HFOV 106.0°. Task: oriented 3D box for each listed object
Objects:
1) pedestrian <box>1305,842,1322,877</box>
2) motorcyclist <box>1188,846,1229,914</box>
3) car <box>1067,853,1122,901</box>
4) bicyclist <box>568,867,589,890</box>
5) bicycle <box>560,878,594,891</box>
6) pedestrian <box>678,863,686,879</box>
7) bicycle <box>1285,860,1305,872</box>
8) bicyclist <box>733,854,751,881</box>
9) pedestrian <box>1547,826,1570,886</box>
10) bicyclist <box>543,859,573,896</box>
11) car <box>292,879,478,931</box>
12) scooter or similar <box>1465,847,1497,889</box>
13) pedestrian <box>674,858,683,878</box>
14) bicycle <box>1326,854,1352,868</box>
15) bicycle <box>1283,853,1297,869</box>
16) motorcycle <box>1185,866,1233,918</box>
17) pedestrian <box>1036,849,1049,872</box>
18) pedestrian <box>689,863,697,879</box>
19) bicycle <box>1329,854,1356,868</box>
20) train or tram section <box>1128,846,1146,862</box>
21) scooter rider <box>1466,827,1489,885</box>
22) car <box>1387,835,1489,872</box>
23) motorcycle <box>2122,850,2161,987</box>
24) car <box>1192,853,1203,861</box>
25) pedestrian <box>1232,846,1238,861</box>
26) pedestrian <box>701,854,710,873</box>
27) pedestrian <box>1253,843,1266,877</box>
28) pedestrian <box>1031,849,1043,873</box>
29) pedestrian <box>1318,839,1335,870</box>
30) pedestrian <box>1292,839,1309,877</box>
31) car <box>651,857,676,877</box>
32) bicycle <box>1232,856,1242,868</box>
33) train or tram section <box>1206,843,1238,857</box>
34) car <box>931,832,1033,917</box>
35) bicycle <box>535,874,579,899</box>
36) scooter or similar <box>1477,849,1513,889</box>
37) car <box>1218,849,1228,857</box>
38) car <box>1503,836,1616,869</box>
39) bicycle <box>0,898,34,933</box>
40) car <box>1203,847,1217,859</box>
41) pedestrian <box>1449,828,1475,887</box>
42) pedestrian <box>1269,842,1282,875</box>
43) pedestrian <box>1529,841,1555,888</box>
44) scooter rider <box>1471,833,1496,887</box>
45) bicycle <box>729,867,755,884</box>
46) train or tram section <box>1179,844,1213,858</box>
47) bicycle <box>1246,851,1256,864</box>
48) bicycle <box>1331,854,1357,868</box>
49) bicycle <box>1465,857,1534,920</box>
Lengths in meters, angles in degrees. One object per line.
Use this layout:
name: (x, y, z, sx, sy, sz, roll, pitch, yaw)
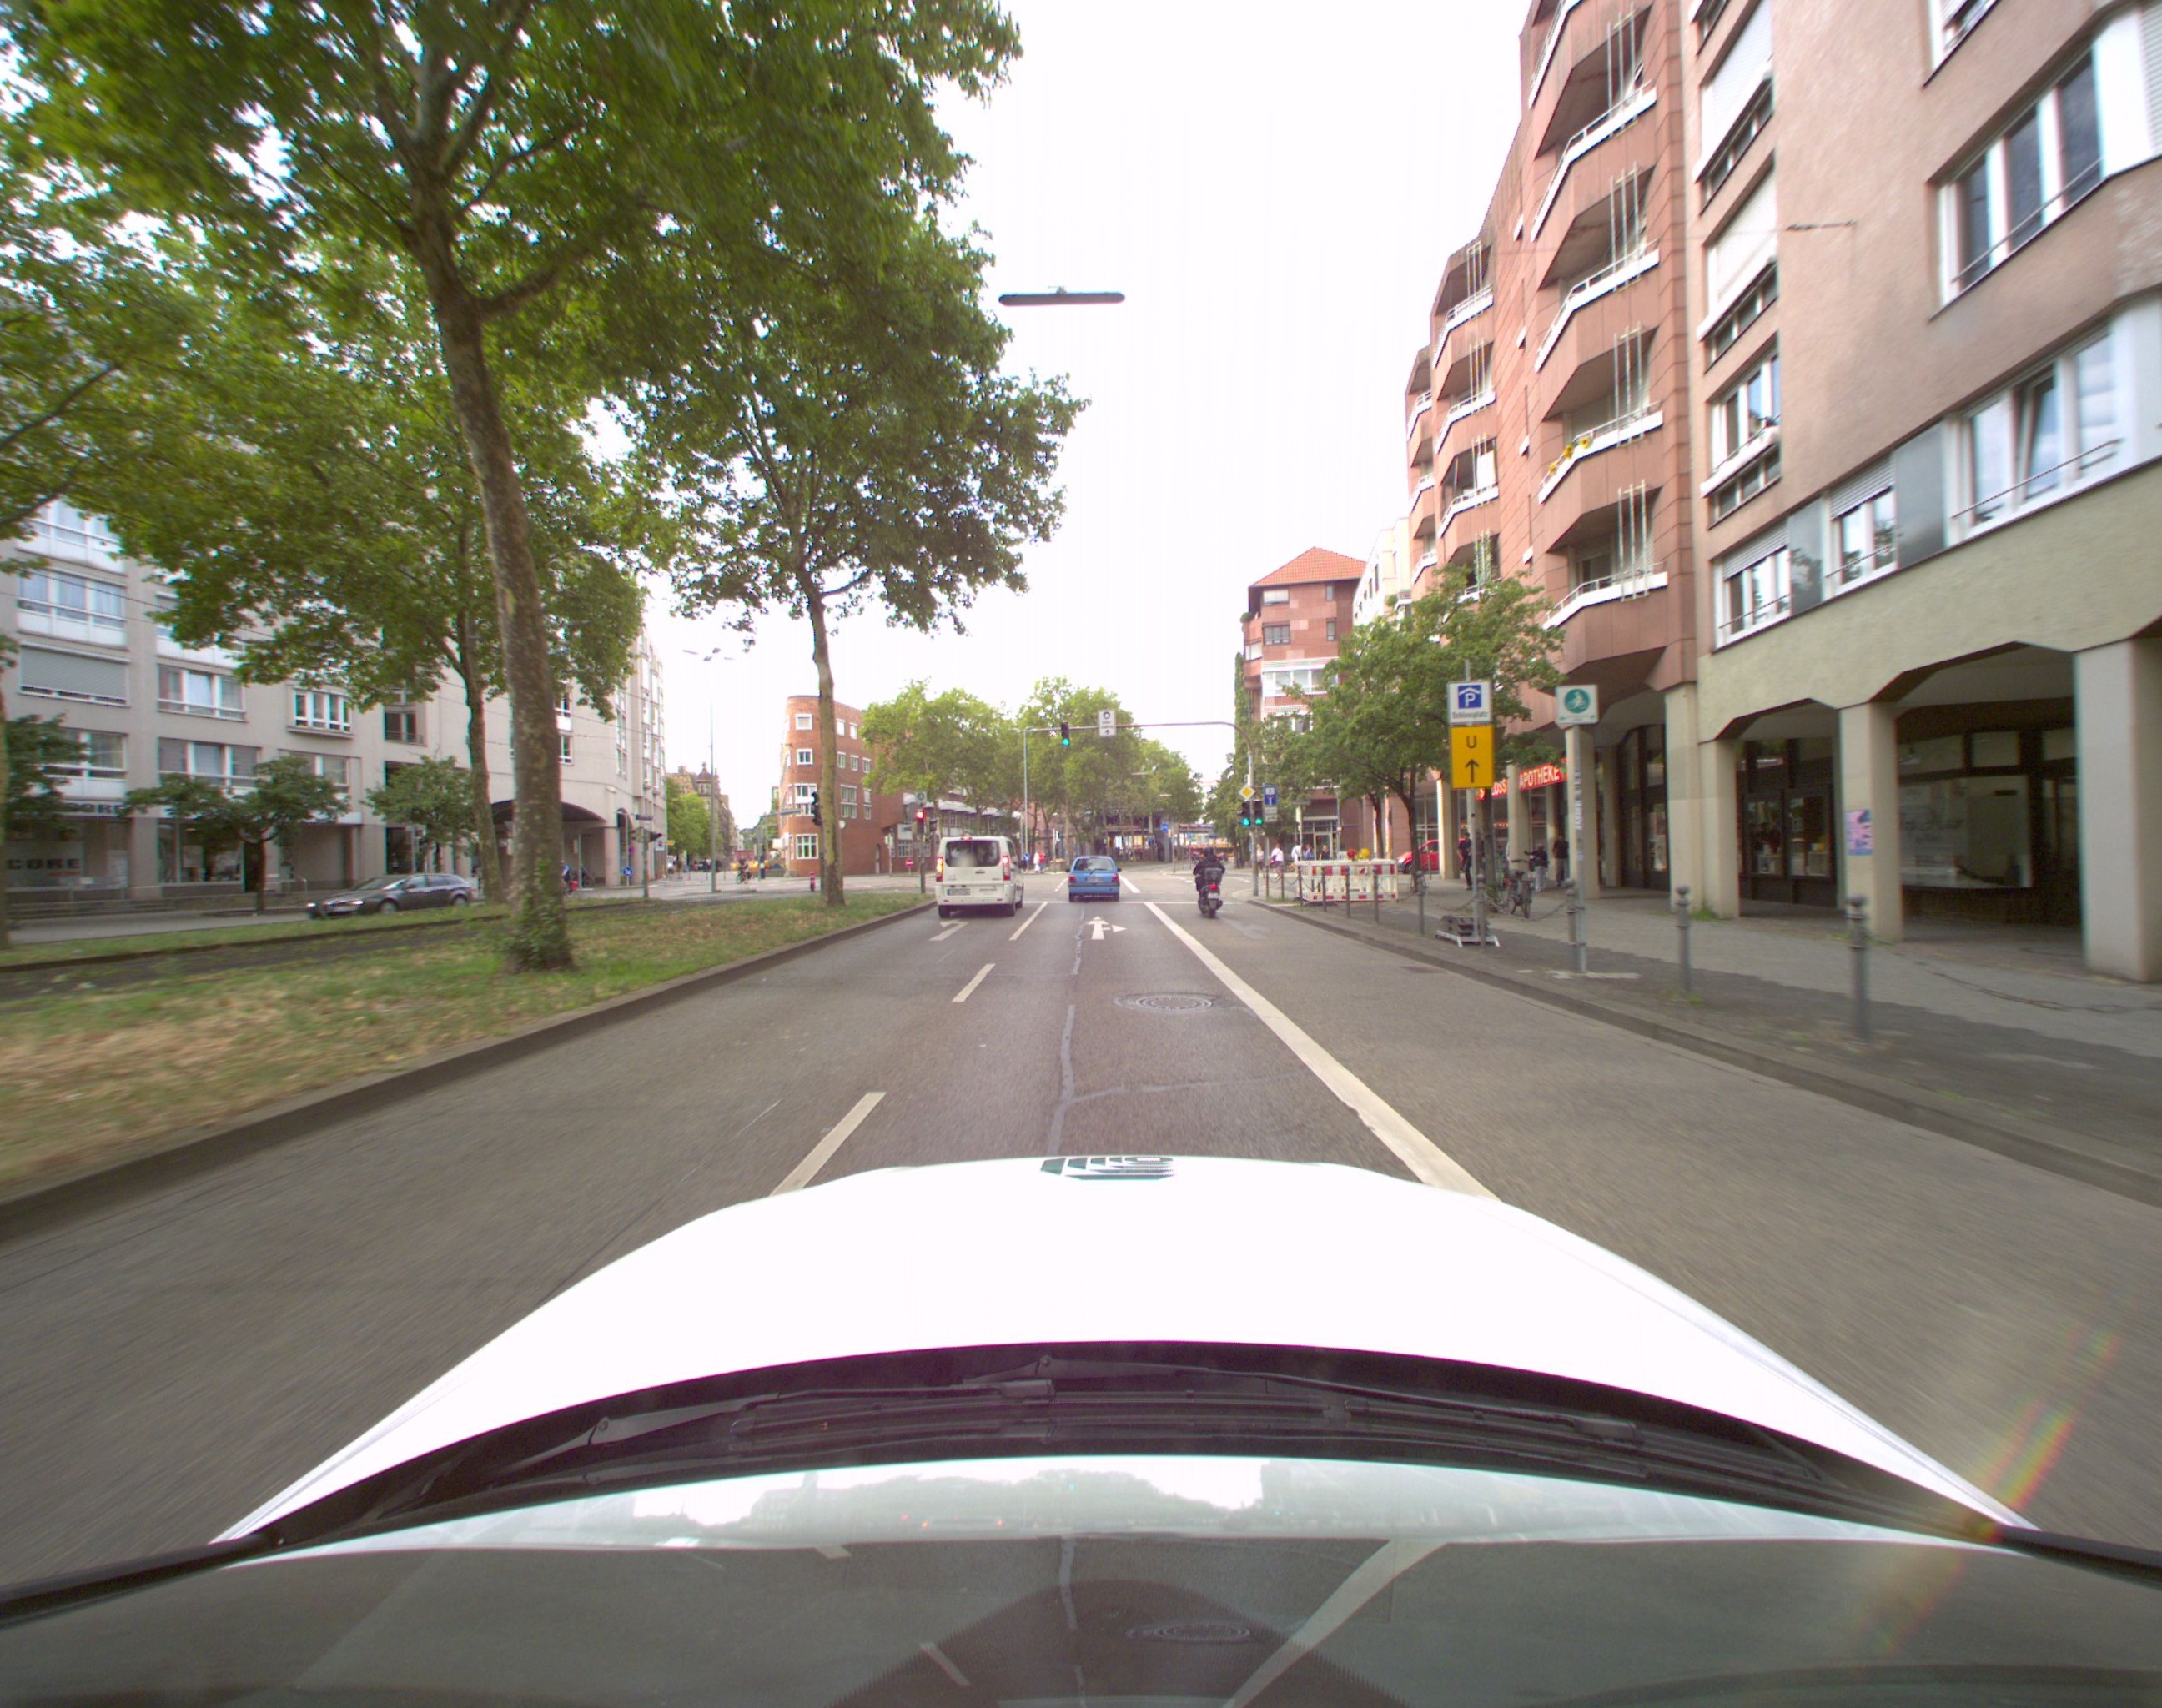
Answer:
pedestrian: (11.579, 0.255, 40.582, 0.648, 1.701, 1.024, -1, 0, 9)
motorcyclist: (2.971, 0.600, 19.067, 0.757, 1.519, 1.017, -2, 0, 0)
car: (0.450, 0.691, 26.245, 1.634, 1.386, 3.844, -1, 0, 1)
bicyclist: (-34.611, 1.690, 56.069, 1.026, 1.562, 0.583, -2, 0, 5)
bicycle: (-34.722, 2.125, 56.084, 1.972, 0.836, 0.580, -1, 0, 4)
pedestrian: (-43.652, 1.850, 89.151, 0.696, 1.671, 0.825, -1, 0, -26)
bicycle: (14.872, 0.818, 56.689, 1.287, 0.814, 0.447, -1, 0, 23)
bicyclist: (-23.851, 0.948, 57.281, 0.663, 1.848, 1.083, -2, 0, 5)
pedestrian: (14.568, 0.061, 24.843, 0.546, 1.799, 0.662, -2, 0, 31)
bicyclist: (-24.235, 1.085, 37.760, 0.686, 1.672, 0.955, -1, 0, 6)
car: (-20.969, 1.478, 24.836, 1.723, 1.245, 4.534, -1, 0, 0)
scooter or similar: (11.929, 0.412, 24.304, 0.471, 1.206, 1.334, -1, 0, 10)
pedestrian: (-34.404, 1.210, 69.580, 0.677, 1.679, 0.746, -1, 0, -26)
bicycle: (18.842, 0.491, 59.550, 1.720, 1.008, 0.438, -1, 0, 7)
bicycle: (14.059, 0.457, 54.861, 0.614, 1.008, 1.738, -1, 0, 6)
motorcycle: (2.975, 0.863, 19.143, 0.765, 1.107, 2.208, -2, 0, 0)
pedestrian: (-2.836, 0.471, 60.002, 0.547, 1.718, 0.896, -1, 0, 27)
pedestrian: (-49.388, 2.200, 103.665, 0.867, 2.013, 1.334, -1, 0, -23)
bicycle: (18.782, 0.493, 58.506, 1.720, 1.008, 0.479, -1, 0, 7)
train or tram section: (11.320, -0.009, 164.082, 2.373, 3.253, 8.846, -2, 0, 12)
scooter rider: (11.973, 0.065, 24.614, 0.460, 1.720, 0.554, -1, 0, 9)
car: (19.425, 0.002, 44.515, 4.793, 1.826, 2.007, -1, -2, 13)
motorcycle: (9.379, 0.564, 6.251, 0.612, 1.156, 1.910, -3, 1, 12)
car: (25.303, 0.551, 176.538, 1.873, 1.624, 4.014, -1, 0, 13)
pedestrian: (18.301, -0.068, 96.880, 0.642, 1.858, 0.785, -1, 0, 11)
pedestrian: (-38.862, 0.944, 84.309, 0.793, 1.963, 0.799, -1, 0, -24)
pedestrian: (8.744, 0.303, 39.887, 0.514, 1.616, 0.852, -1, 0, 6)
pedestrian: (-3.199, 0.470, 59.107, 0.548, 1.718, 0.895, -1, 0, 18)
pedestrian: (12.560, 0.023, 41.725, 0.672, 1.538, 0.949, -2, 0, 8)
pedestrian: (10.879, 0.192, 40.413, 0.672, 1.828, 0.852, -1, 0, 7)
car: (-43.718, 1.366, 85.338, 2.003, 1.936, 4.906, -1, 0, -24)
bicycle: (12.741, 0.640, 66.582, 0.614, 1.008, 1.738, -1, 0, 7)
train or tram section: (35.649, -0.989, 206.248, 8.389, 3.254, 2.373, -2, 0, -32)
car: (-2.421, 0.450, 21.298, 1.925, 1.925, 4.956, -2, 1, 1)
bicycle: (-24.229, 1.489, 37.675, 0.687, 1.092, 1.879, -1, 0, 5)
scooter or similar: (12.669, 0.451, 24.951, 0.550, 1.170, 1.410, -1, 0, 10)
car: (30.275, -0.244, 173.466, 1.687, 1.601, 4.014, -1, 0, 13)
car: (25.389, -0.055, 43.382, 4.793, 1.590, 2.007, -1, -2, 13)
bicycle: (-30.504, 1.731, 23.031, 1.616, 0.943, 0.442, -1, 0, 12)
car: (18.566, -0.175, 117.226, 1.687, 1.601, 4.014, -2, 0, 13)
pedestrian: (11.898, 0.105, 25.429, 0.548, 1.799, 0.660, -1, 0, 12)
pedestrian: (9.506, 0.208, 39.811, 0.514, 1.616, 0.852, -1, 0, 7)
pedestrian: (13.107, 0.289, 23.157, 0.483, 1.324, 0.486, -1, 0, 11)
scooter rider: (11.878, 0.181, 24.044, 0.458, 1.557, 0.566, -1, 0, 9)
bicycle: (-23.839, 1.484, 57.298, 0.674, 1.093, 2.213, -2, 0, 6)
train or tram section: (28.429, -0.830, 201.672, 8.850, 3.254, 2.372, -2, 0, -32)
bicycle: (13.823, 0.259, 66.202, 0.614, 1.008, 1.738, -1, 0, 7)
bicycle: (18.747, 0.494, 58.016, 1.720, 1.008, 0.425, -1, 0, 7)
bicycle: (8.090, 0.631, 15.815, 0.609, 1.118, 1.809, -1, 0, 8)
